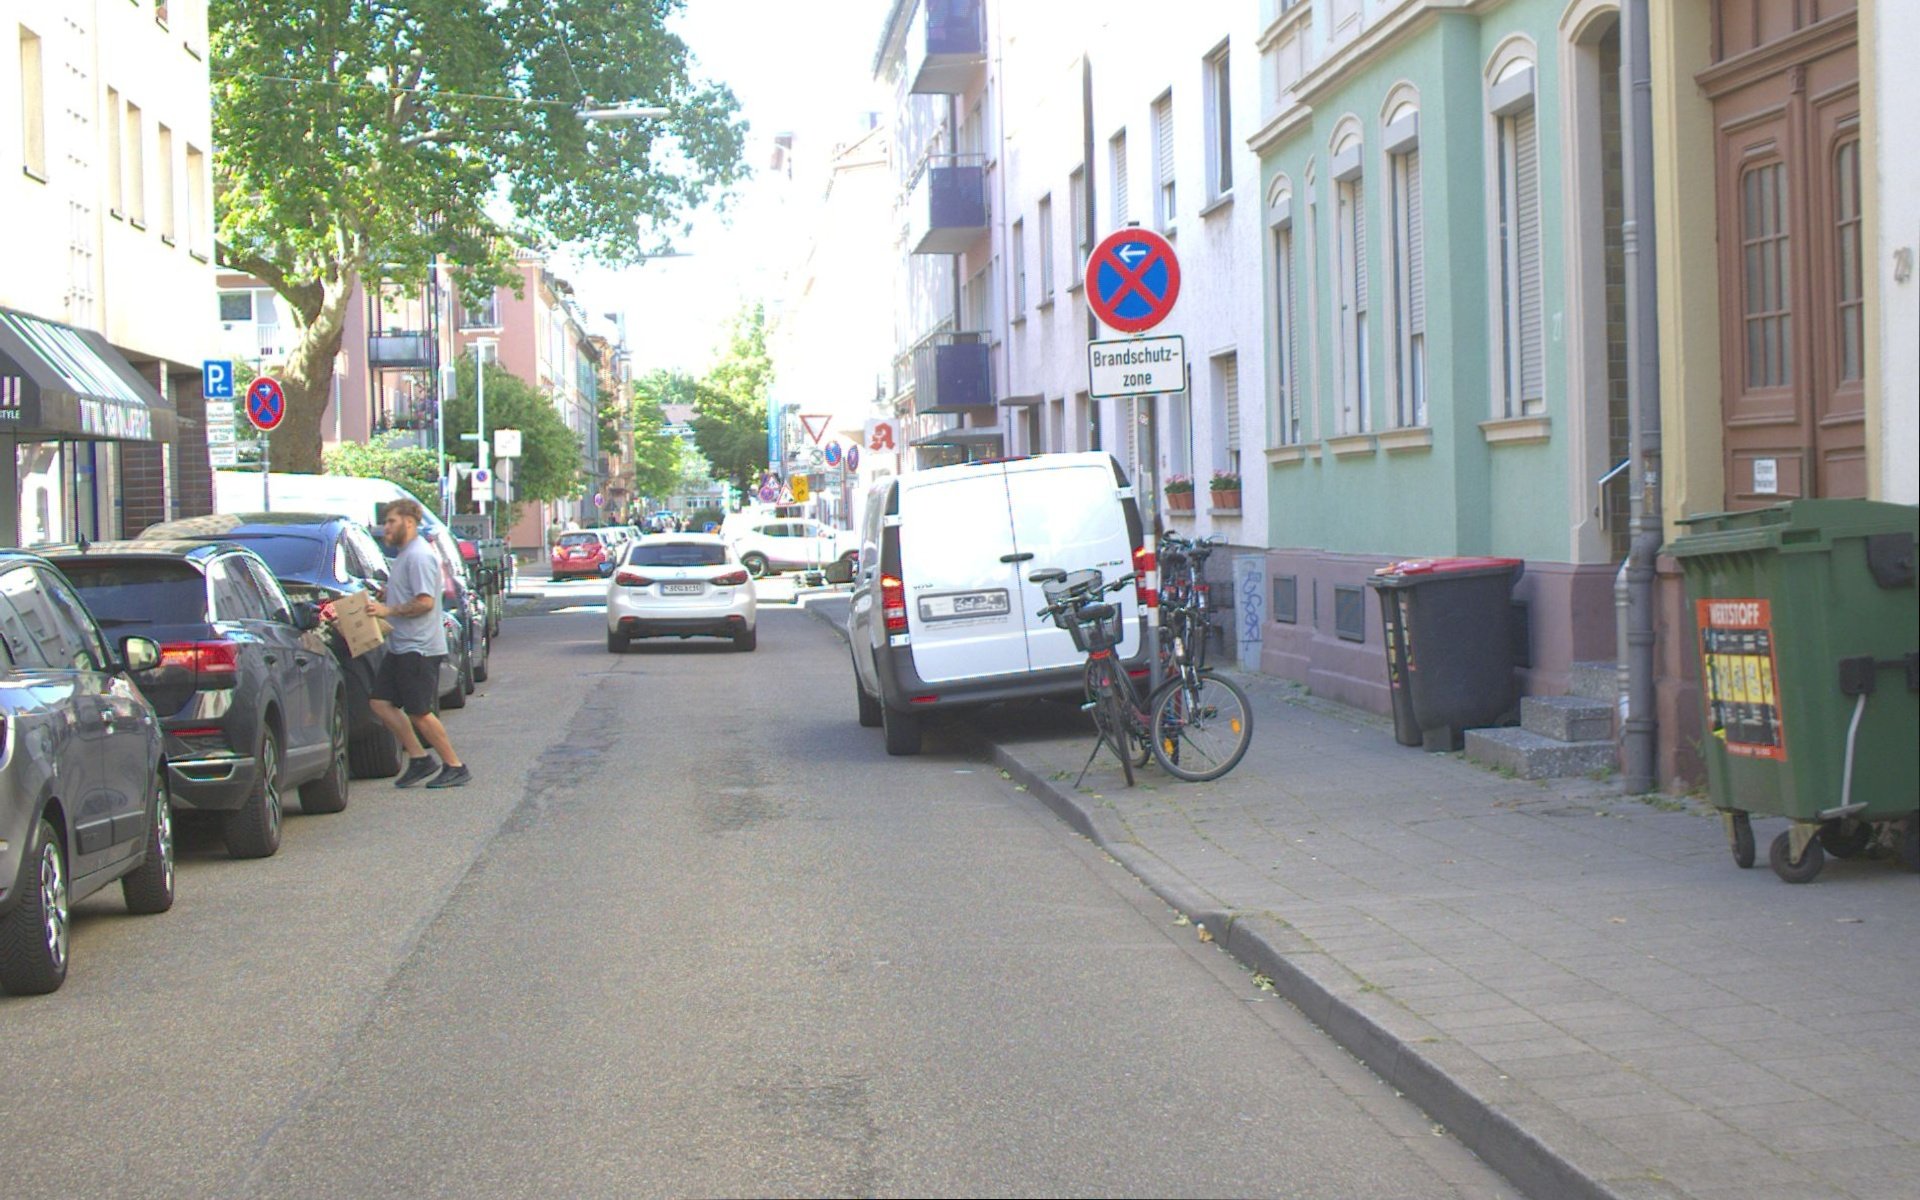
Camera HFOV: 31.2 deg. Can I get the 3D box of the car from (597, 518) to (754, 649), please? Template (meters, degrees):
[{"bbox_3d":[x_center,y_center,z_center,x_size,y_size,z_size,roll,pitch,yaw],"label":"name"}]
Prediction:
[{"bbox_3d":[-3.552,-0.248,42.911,1.823,1.509,3.824,-2,1,-5],"label":"car"}]

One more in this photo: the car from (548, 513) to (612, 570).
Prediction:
[{"bbox_3d":[-11.440,-1.782,103.761,1.769,1.583,3.727,-2,2,-5],"label":"car"}]

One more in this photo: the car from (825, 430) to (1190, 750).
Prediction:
[{"bbox_3d":[0.201,-0.142,24.836,1.983,1.877,5.601,-5,2,-4],"label":"car"}]

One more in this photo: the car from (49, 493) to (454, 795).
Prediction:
[{"bbox_3d":[-4.625,0.201,23.205,1.936,1.730,5.143,-3,2,-4],"label":"car"}]

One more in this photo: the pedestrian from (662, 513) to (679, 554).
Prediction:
[{"bbox_3d":[-12.914,-2.951,153.363,0.647,1.791,0.639,-2,1,-3],"label":"pedestrian"}]

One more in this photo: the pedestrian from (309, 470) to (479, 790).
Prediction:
[{"bbox_3d":[-3.349,0.167,20.414,0.865,1.830,0.884,-2,1,-4],"label":"pedestrian"}]

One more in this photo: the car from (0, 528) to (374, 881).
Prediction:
[{"bbox_3d":[-4.191,0.441,17.706,1.713,1.526,4.367,-3,2,-2],"label":"car"}]

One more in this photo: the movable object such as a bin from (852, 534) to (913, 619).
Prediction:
[{"bbox_3d":[-1.013,-0.312,44.753,0.732,1.077,0.703,-2,1,-3],"label":"movable object such as a bin"}]

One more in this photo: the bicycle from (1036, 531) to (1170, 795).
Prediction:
[{"bbox_3d":[0.768,0.307,18.906,0.575,1.316,2.199,-3,2,0],"label":"bicycle"}]

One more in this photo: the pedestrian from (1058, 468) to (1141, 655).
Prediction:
[{"bbox_3d":[1.306,-0.360,32.024,0.655,1.705,0.686,-2,1,8],"label":"pedestrian"}]

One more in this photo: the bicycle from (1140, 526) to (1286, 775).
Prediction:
[{"bbox_3d":[1.396,0.245,19.267,0.575,1.266,2.199,-4,2,0],"label":"bicycle"}]

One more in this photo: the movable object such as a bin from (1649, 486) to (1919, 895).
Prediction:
[{"bbox_3d":[3.174,0.309,12.622,0.837,1.385,1.297,-4,0,-5],"label":"movable object such as a bin"}]

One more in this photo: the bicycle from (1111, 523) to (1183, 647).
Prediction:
[{"bbox_3d":[1.790,-0.156,33.095,0.568,1.149,1.868,-2,1,1],"label":"bicycle"}]

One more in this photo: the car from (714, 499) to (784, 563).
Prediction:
[{"bbox_3d":[-6.613,-2.162,107.284,1.942,1.941,4.079,-1,1,-6],"label":"car"}]

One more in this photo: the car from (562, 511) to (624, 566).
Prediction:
[{"bbox_3d":[-11.652,-1.960,109.356,1.720,1.677,3.726,-2,1,-3],"label":"car"}]

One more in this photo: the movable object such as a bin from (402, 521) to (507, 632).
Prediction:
[{"bbox_3d":[-7.015,-0.332,47.775,1.343,1.493,1.018,-1,1,-4],"label":"movable object such as a bin"}]

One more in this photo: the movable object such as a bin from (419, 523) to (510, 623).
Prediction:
[{"bbox_3d":[-7.344,-0.408,51.019,1.300,1.446,1.118,-1,1,-7],"label":"movable object such as a bin"}]

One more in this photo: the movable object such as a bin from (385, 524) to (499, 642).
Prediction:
[{"bbox_3d":[-6.876,-0.227,45.700,1.334,1.479,1.094,-3,1,-4],"label":"movable object such as a bin"}]

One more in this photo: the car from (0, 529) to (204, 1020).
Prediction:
[{"bbox_3d":[-3.956,0.543,12.944,1.615,1.548,3.979,-2,2,-5],"label":"car"}]

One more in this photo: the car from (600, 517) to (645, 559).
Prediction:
[{"bbox_3d":[-13.338,-2.446,135.925,1.572,1.580,3.611,-2,1,-3],"label":"car"}]

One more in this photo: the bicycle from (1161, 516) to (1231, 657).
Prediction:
[{"bbox_3d":[2.094,-0.135,30.684,0.405,1.202,2.159,-2,1,-1],"label":"bicycle"}]

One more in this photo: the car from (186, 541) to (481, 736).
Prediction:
[{"bbox_3d":[-5.178,0.261,28.984,1.845,1.412,4.819,-3,1,-4],"label":"car"}]

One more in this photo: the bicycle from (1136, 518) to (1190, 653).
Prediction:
[{"bbox_3d":[1.879,-0.150,32.009,0.438,1.202,2.266,-2,1,3],"label":"bicycle"}]

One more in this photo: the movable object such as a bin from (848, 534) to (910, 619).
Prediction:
[{"bbox_3d":[-1.072,-0.315,45.464,0.768,1.083,0.693,-2,1,-3],"label":"movable object such as a bin"}]

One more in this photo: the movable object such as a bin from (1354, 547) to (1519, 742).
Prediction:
[{"bbox_3d":[2.750,0.249,19.878,0.812,1.084,0.674,-2,1,-2],"label":"movable object such as a bin"}]

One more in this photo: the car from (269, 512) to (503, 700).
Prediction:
[{"bbox_3d":[-5.649,-0.003,34.343,1.782,1.661,4.671,-3,2,-4],"label":"car"}]

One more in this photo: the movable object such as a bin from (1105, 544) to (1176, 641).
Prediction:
[{"bbox_3d":[1.805,-0.077,34.369,0.577,0.921,0.608,-4,1,-4],"label":"movable object such as a bin"}]

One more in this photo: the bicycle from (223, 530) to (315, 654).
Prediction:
[{"bbox_3d":[-7.657,-0.079,38.151,0.465,1.327,1.854,2,0,4],"label":"bicycle"}]

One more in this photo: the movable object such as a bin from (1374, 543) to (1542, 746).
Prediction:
[{"bbox_3d":[2.774,0.241,19.207,0.797,1.092,0.642,-2,1,-2],"label":"movable object such as a bin"}]

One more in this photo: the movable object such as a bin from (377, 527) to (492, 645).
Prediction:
[{"bbox_3d":[-6.795,-0.186,44.529,1.319,1.445,1.187,-3,1,-4],"label":"movable object such as a bin"}]

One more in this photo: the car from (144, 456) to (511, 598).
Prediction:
[{"bbox_3d":[-12.239,-1.417,66.869,6.738,2.546,2.146,1,1,-2],"label":"car"}]
